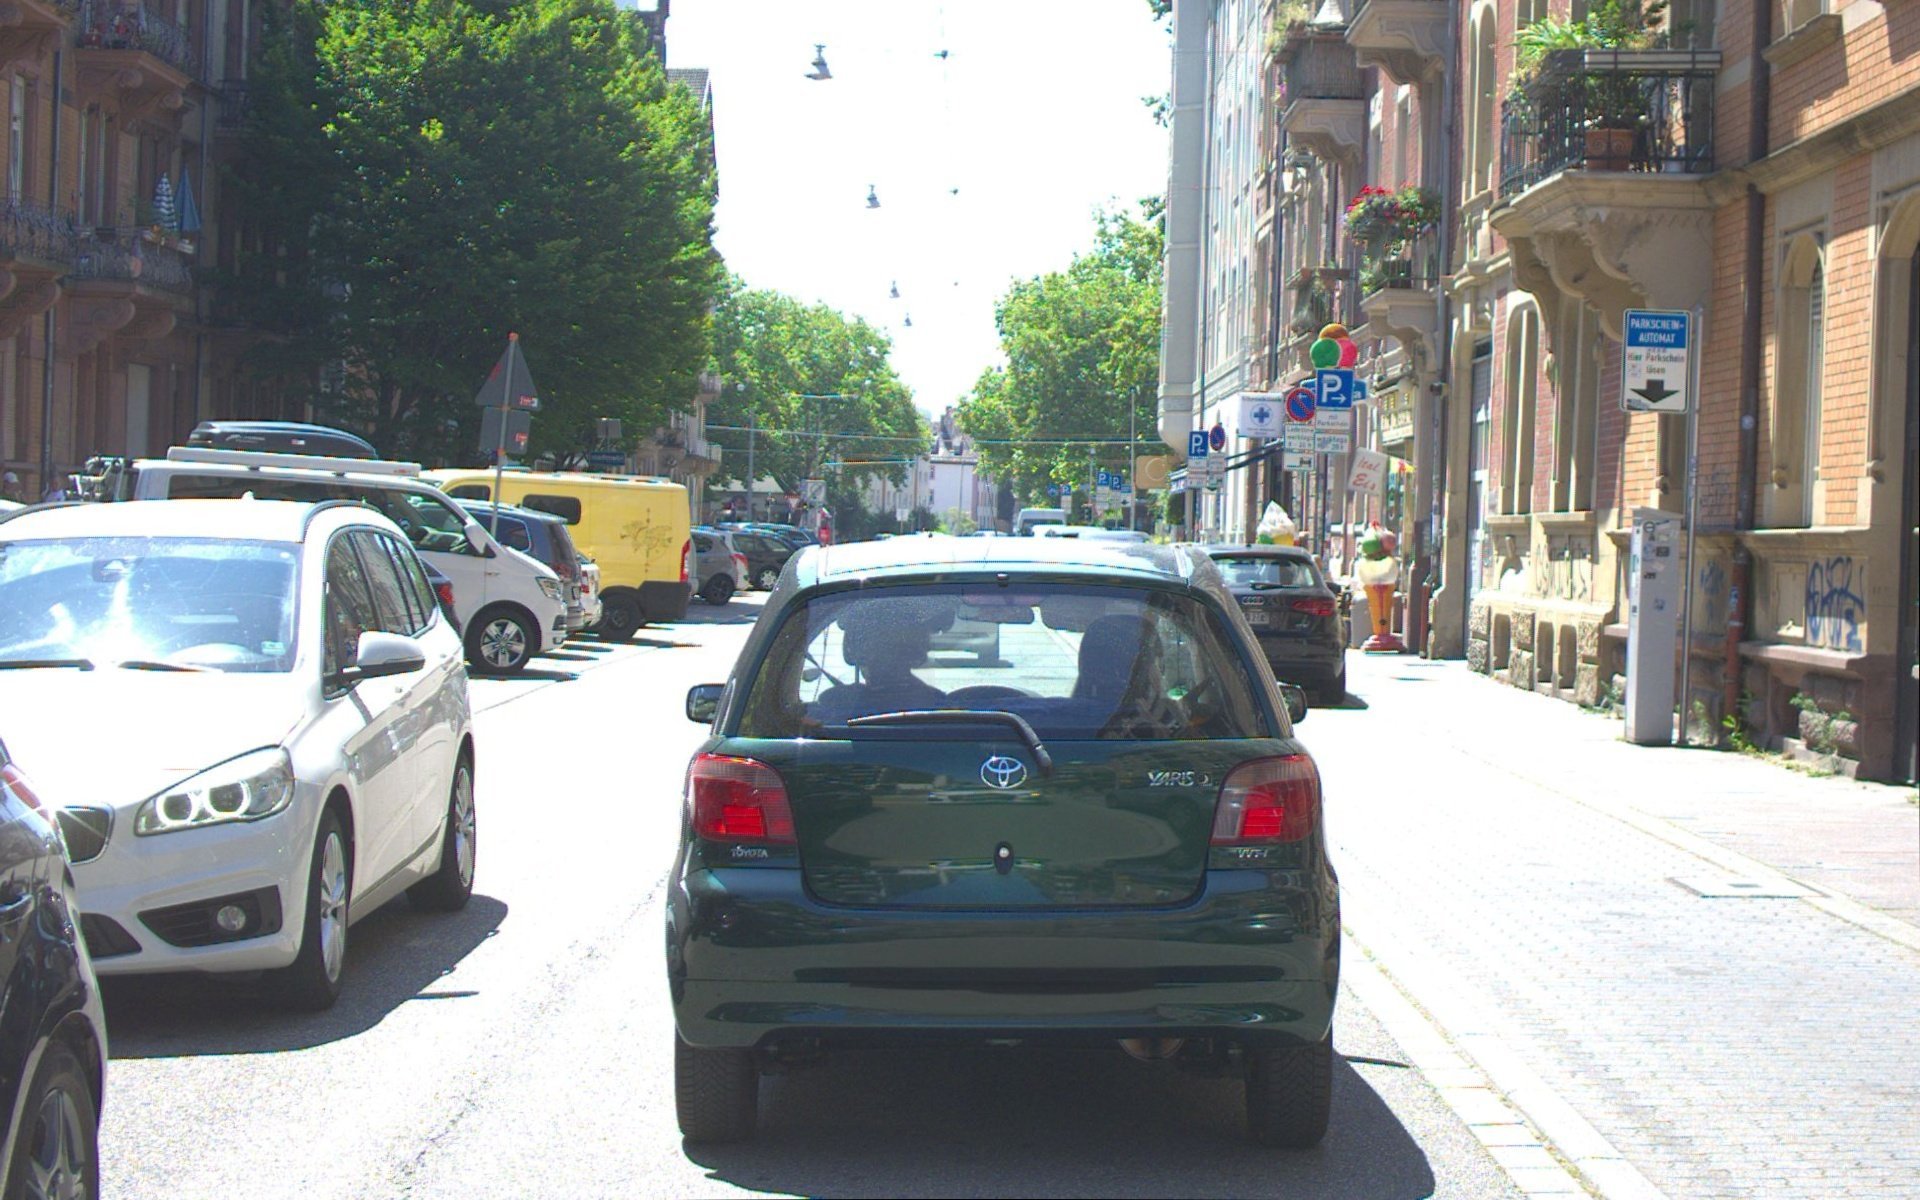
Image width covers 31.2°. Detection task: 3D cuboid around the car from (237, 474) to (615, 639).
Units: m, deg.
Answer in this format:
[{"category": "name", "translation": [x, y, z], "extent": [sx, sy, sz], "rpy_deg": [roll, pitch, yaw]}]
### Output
[{"category": "car", "translation": [-6.173, -0.501, 39.689], "extent": [3.909, 1.702, 1.866], "rpy_deg": [2, 1, -23]}]

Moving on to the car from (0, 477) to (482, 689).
[{"category": "car", "translation": [-6.267, -0.154, 29.353], "extent": [3.909, 1.613, 1.866], "rpy_deg": [2, 1, -23]}]

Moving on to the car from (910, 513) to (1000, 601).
[{"category": "car", "translation": [-0.076, -0.857, 66.899], "extent": [1.522, 1.587, 3.264], "rpy_deg": [3, 2, 3]}]

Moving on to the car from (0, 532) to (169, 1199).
[{"category": "car", "translation": [-2.429, 0.611, 4.583], "extent": [1.754, 1.439, 4.000], "rpy_deg": [2, 1, 1]}]

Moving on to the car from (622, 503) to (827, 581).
[{"category": "car", "translation": [-5.882, -1.440, 85.872], "extent": [4.606, 1.720, 2.001], "rpy_deg": [2, 1, -26]}]

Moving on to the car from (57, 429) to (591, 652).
[{"category": "car", "translation": [-6.349, -0.583, 34.406], "extent": [4.772, 1.987, 2.054], "rpy_deg": [2, 1, -28]}]

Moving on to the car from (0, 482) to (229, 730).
[{"category": "car", "translation": [-7.171, -0.024, 23.506], "extent": [3.909, 1.613, 1.866], "rpy_deg": [2, 1, -23]}]

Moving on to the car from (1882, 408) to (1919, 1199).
[{"category": "car", "translation": [2.531, 0.579, 3.808], "extent": [1.871, 1.707, 4.504], "rpy_deg": [1, 1, 1]}]

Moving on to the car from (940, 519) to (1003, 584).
[{"category": "car", "translation": [0.288, -1.282, 89.971], "extent": [1.522, 1.587, 3.264], "rpy_deg": [2, 2, -1]}]

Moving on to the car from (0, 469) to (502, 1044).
[{"category": "car", "translation": [-2.799, 0.407, 12.015], "extent": [1.754, 1.639, 4.378], "rpy_deg": [0, 1, 1]}]

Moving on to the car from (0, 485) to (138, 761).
[{"category": "car", "translation": [-7.117, 0.054, 20.675], "extent": [3.909, 1.613, 1.866], "rpy_deg": [2, 1, -23]}]

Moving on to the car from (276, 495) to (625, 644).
[{"category": "car", "translation": [-6.270, -0.372, 42.296], "extent": [3.861, 1.634, 1.786], "rpy_deg": [2, 1, -23]}]

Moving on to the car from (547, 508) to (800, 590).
[{"category": "car", "translation": [-5.723, -1.019, 68.728], "extent": [4.557, 1.423, 2.001], "rpy_deg": [2, 1, -26]}]

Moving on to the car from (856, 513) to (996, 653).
[{"category": "car", "translation": [-0.391, -0.234, 40.554], "extent": [1.522, 1.516, 3.264], "rpy_deg": [2, 2, 0]}]

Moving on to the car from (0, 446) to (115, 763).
[{"category": "car", "translation": [-6.520, -0.050, 17.337], "extent": [3.911, 1.613, 1.865], "rpy_deg": [2, 2, -40]}]

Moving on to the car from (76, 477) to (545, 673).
[{"category": "car", "translation": [-6.033, -0.236, 31.887], "extent": [3.909, 1.613, 1.866], "rpy_deg": [2, 1, -23]}]

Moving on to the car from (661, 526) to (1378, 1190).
[{"category": "car", "translation": [0.071, 0.562, 9.505], "extent": [1.613, 1.480, 3.241], "rpy_deg": [1, 1, -2]}]

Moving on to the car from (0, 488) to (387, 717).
[{"category": "car", "translation": [-6.586, -0.016, 26.450], "extent": [3.909, 1.613, 1.866], "rpy_deg": [2, 1, -23]}]

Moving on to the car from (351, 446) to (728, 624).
[{"category": "car", "translation": [-5.675, -0.874, 46.418], "extent": [4.557, 2.180, 2.001], "rpy_deg": [2, 1, -26]}]

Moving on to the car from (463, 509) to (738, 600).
[{"category": "car", "translation": [-6.596, -0.834, 63.153], "extent": [4.557, 1.429, 2.001], "rpy_deg": [2, 1, -26]}]

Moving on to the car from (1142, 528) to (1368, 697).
[{"category": "car", "translation": [2.684, 0.065, 32.079], "extent": [1.754, 1.424, 4.000], "rpy_deg": [2, 1, 1]}]
